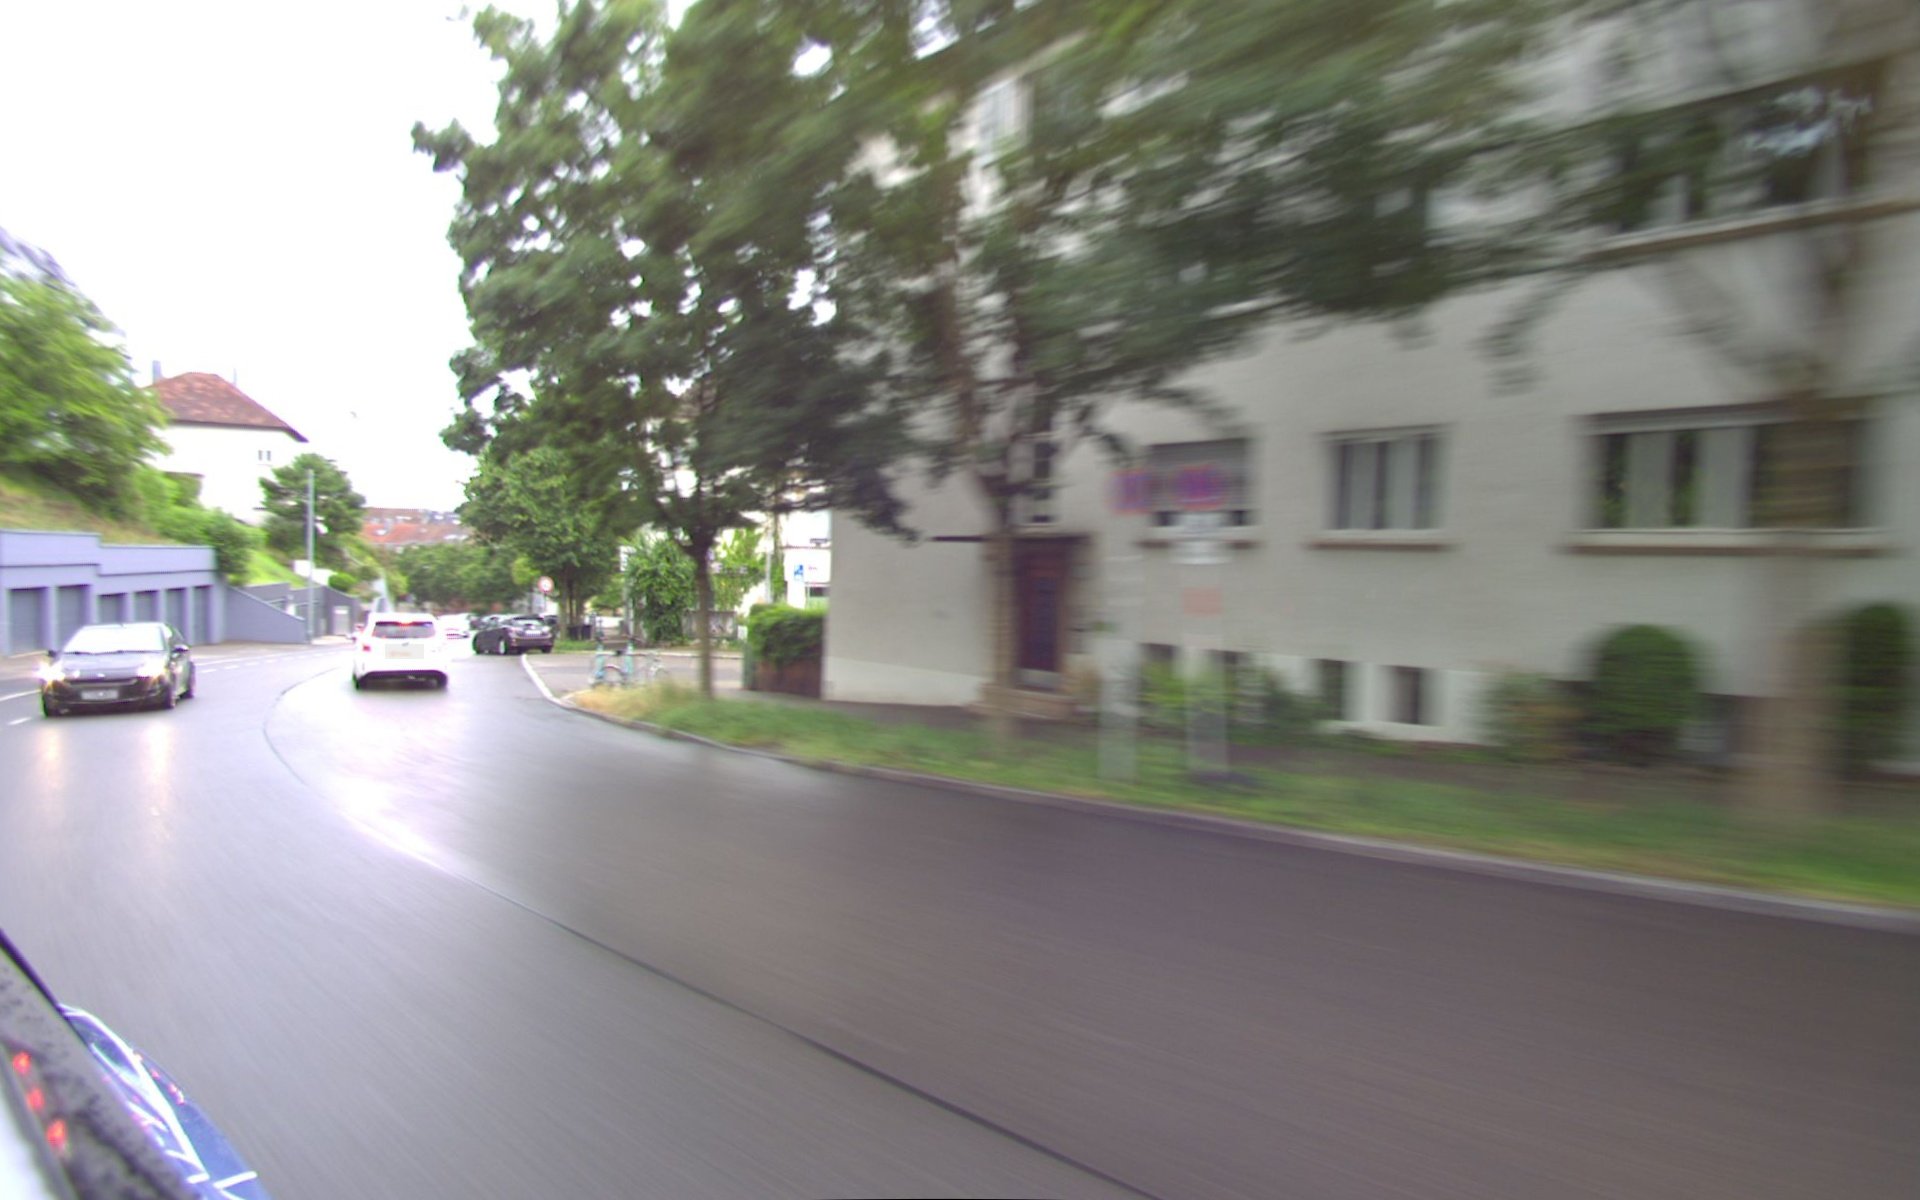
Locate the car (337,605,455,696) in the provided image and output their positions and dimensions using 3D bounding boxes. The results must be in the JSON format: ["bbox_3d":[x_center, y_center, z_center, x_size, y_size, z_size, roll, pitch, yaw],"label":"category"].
[{"bbox_3d":[-12.719,1.119,22.684,1.957,1.802,4.707,2,-3,-33],"label":"car"}]

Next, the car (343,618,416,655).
[{"bbox_3d":[-26.387,1.611,46.173,1.966,1.522,4.223,-2,0,-17],"label":"car"}]

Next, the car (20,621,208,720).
[{"bbox_3d":[-14.404,1.110,17.471,1.670,1.475,4.013,-1,-1,-27],"label":"car"}]

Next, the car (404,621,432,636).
[{"bbox_3d":[-67.539,3.571,126.113,4.482,1.653,1.767,-2,0,45],"label":"car"}]

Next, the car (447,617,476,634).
[{"bbox_3d":[-57.133,2.900,115.989,1.831,1.790,4.488,-2,0,-41],"label":"car"}]

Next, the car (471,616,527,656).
[{"bbox_3d":[-18.970,1.490,41.772,1.689,1.474,3.893,-2,-1,-19],"label":"car"}]

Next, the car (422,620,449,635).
[{"bbox_3d":[-63.397,3.368,122.213,1.726,1.703,4.606,-2,0,-42],"label":"car"}]

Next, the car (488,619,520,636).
[{"bbox_3d":[-46.365,2.805,102.829,1.830,1.703,4.562,0,-1,-39],"label":"car"}]

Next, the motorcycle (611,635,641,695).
[{"bbox_3d":[-7.203,1.387,21.864,0.545,1.237,1.309,0,-1,-15],"label":"motorcycle"}]

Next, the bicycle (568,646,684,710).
[{"bbox_3d":[-6.233,1.427,18.959,1.940,1.068,0.755,0,-2,-44],"label":"bicycle"}]

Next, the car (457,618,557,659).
[{"bbox_3d":[-16.813,1.390,37.500,4.199,1.401,1.971,-1,0,44],"label":"car"}]

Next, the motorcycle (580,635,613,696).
[{"bbox_3d":[-7.670,1.361,21.405,0.549,1.213,1.403,0,-1,-15],"label":"motorcycle"}]
